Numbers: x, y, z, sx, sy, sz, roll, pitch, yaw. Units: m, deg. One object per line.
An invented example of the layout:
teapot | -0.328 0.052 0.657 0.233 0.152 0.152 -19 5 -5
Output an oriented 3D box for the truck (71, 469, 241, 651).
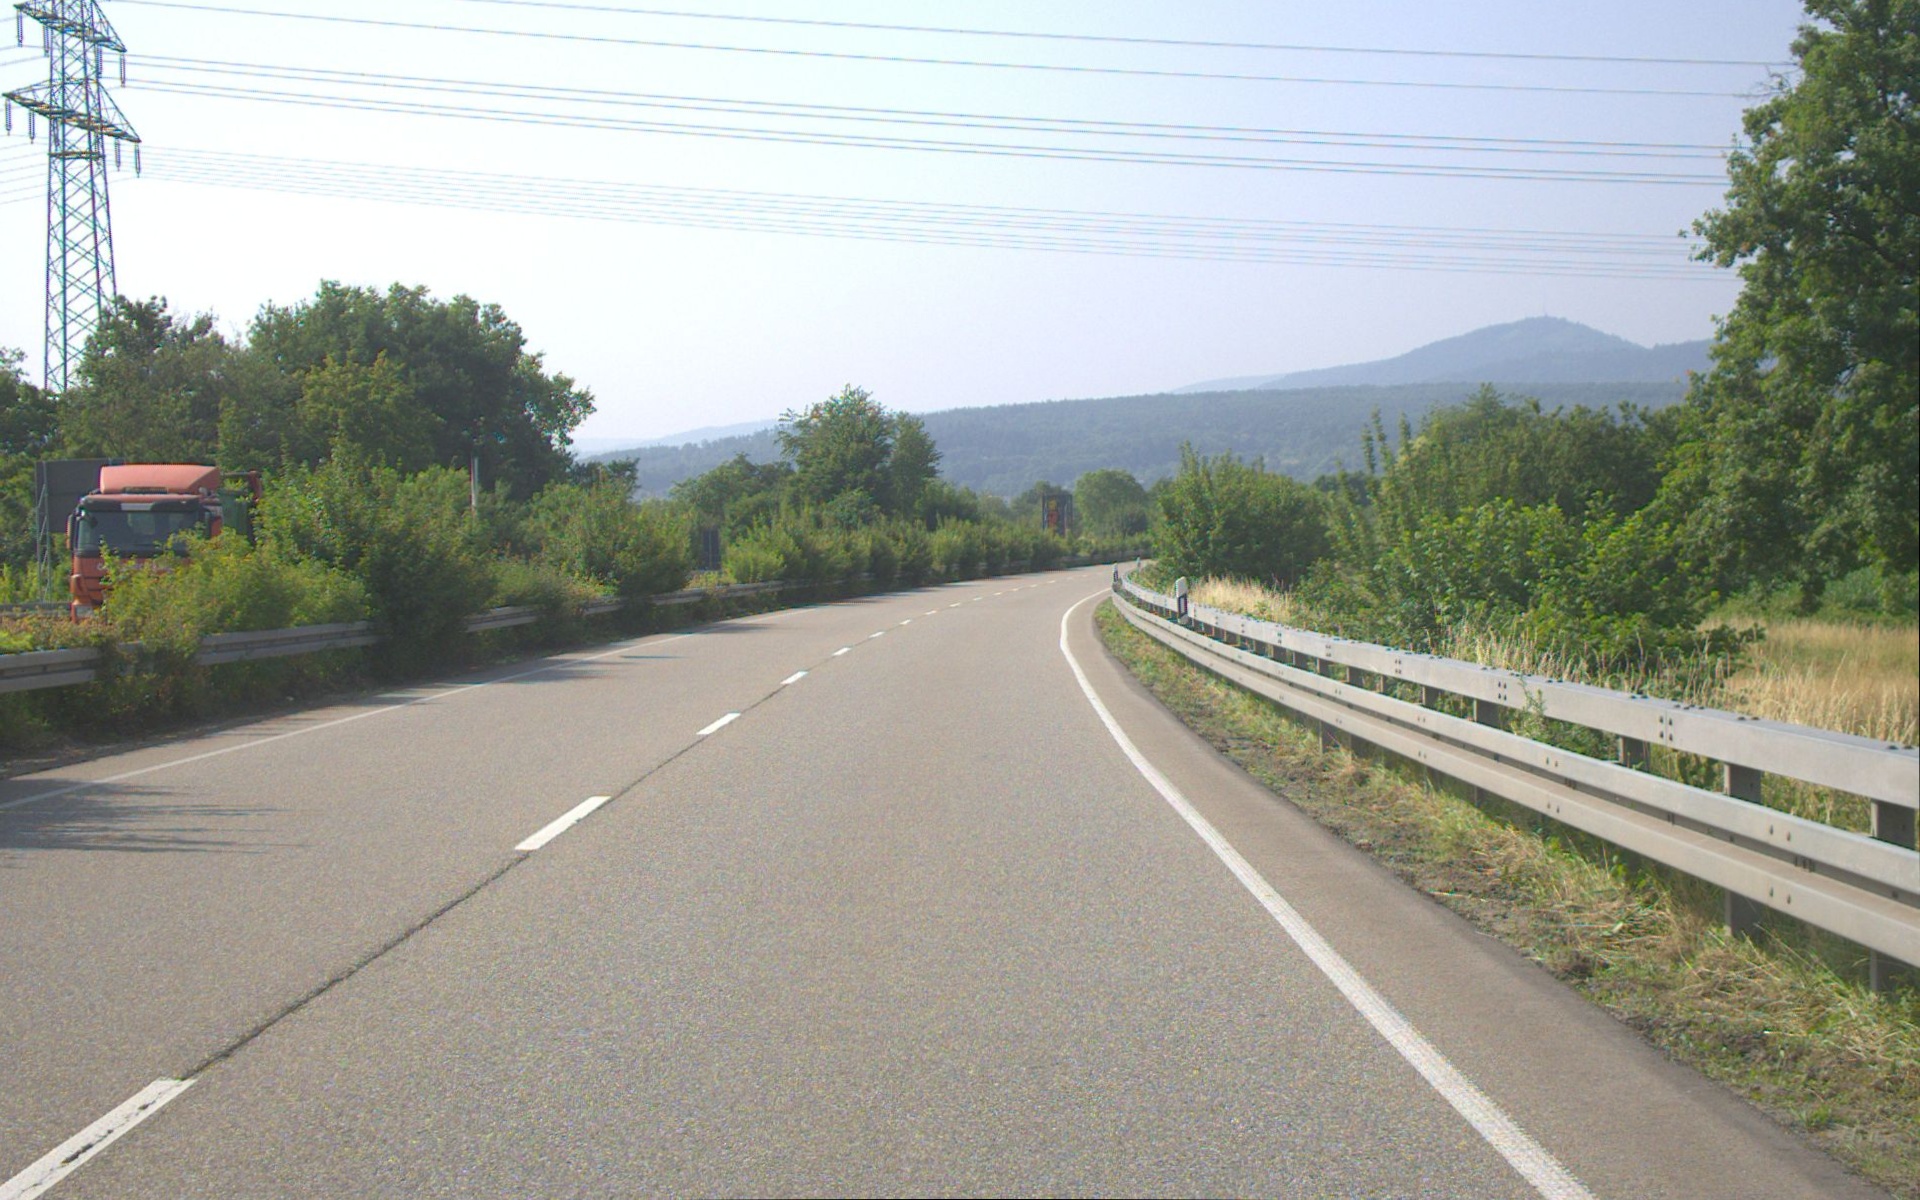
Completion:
truck | -15.463 -0.770 66.402 1.993 3.364 5.629 0 1 0
